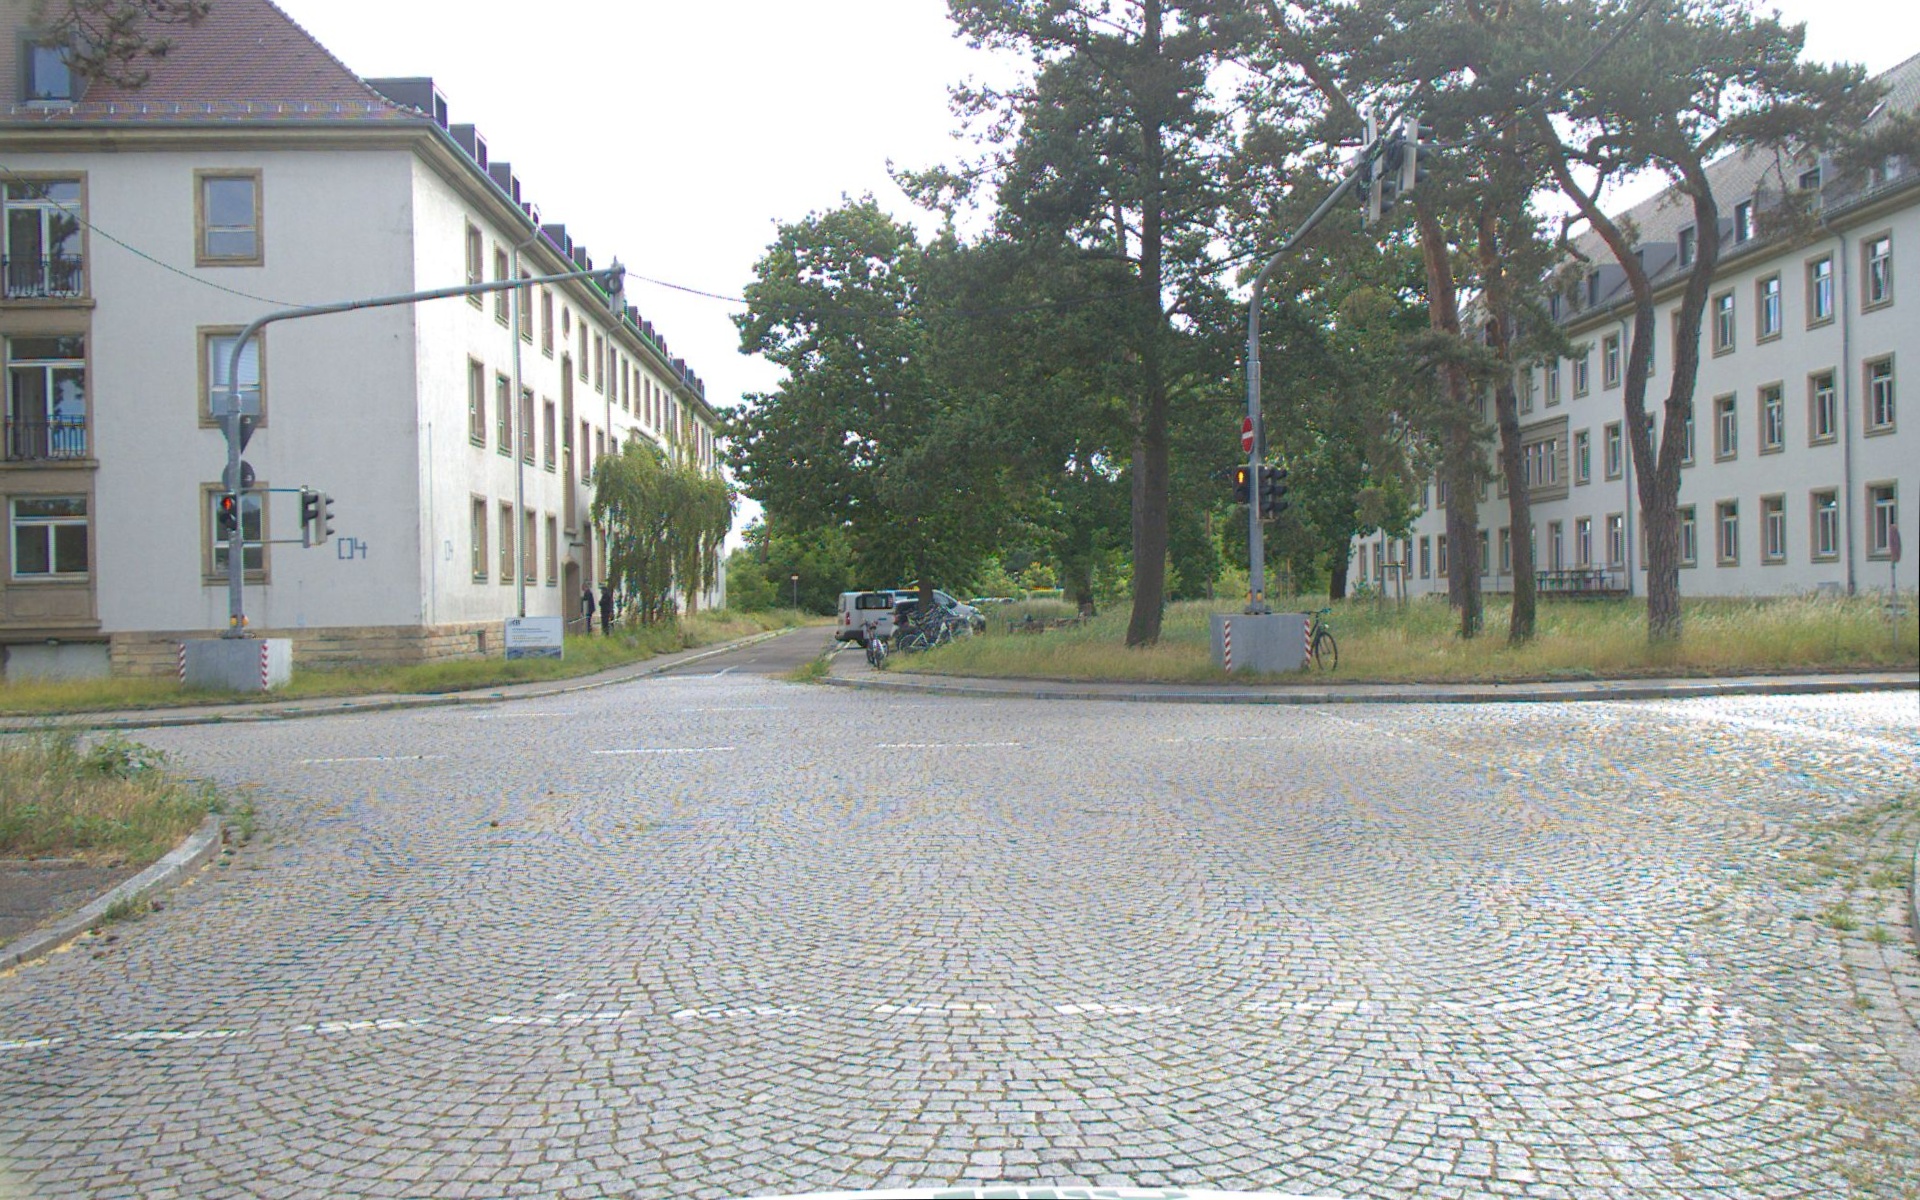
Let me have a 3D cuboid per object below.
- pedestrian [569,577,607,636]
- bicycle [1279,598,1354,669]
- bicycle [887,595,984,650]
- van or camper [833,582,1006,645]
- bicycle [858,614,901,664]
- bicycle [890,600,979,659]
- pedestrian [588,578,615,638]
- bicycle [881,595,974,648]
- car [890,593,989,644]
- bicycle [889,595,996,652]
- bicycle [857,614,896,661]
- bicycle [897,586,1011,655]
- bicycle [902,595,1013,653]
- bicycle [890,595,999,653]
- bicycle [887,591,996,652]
[{"bbox_3d":[-12.178,0.205,54.175,1.174,1.903,1.545,0,-1,-13],"label":"pedestrian"},{"bbox_3d":[5.942,0.539,27.653,0.632,1.080,1.832,-5,0,-5],"label":"bicycle"},{"bbox_3d":[-0.660,0.583,44.256,2.517,1.395,0.950,-1,0,-4],"label":"bicycle"},{"bbox_3d":[-1.420,0.440,57.551,5.646,1.991,2.229,-1,0,-15],"label":"van or camper"},{"bbox_3d":[-1.752,0.833,36.018,0.882,1.014,1.977,-1,0,-3],"label":"bicycle"},{"bbox_3d":[-0.614,0.695,39.452,2.071,1.329,0.874,-1,0,-3],"label":"bicycle"},{"bbox_3d":[-11.900,0.255,54.848,0.850,1.966,0.834,1,-1,-14],"label":"pedestrian"},{"bbox_3d":[-0.905,0.593,45.923,2.517,1.395,0.950,-1,0,-4],"label":"bicycle"},{"bbox_3d":[-0.694,0.600,54.064,3.161,1.649,1.936,0,0,-4],"label":"car"},{"bbox_3d":[-0.475,0.605,43.301,2.747,1.395,0.950,-1,0,-3],"label":"bicycle"},{"bbox_3d":[-1.913,0.847,38.104,0.712,1.014,1.979,-1,0,2],"label":"bicycle"},{"bbox_3d":[-0.155,0.494,40.956,2.747,1.611,0.950,-1,0,-3],"label":"bicycle"},{"bbox_3d":[-0.066,0.596,41.891,2.747,1.395,0.950,-1,0,-3],"label":"bicycle"},{"bbox_3d":[-0.409,0.600,42.410,2.747,1.395,0.950,-1,0,-3],"label":"bicycle"},{"bbox_3d":[-0.457,0.519,40.072,2.567,1.391,0.874,-1,0,-3],"label":"bicycle"}]
